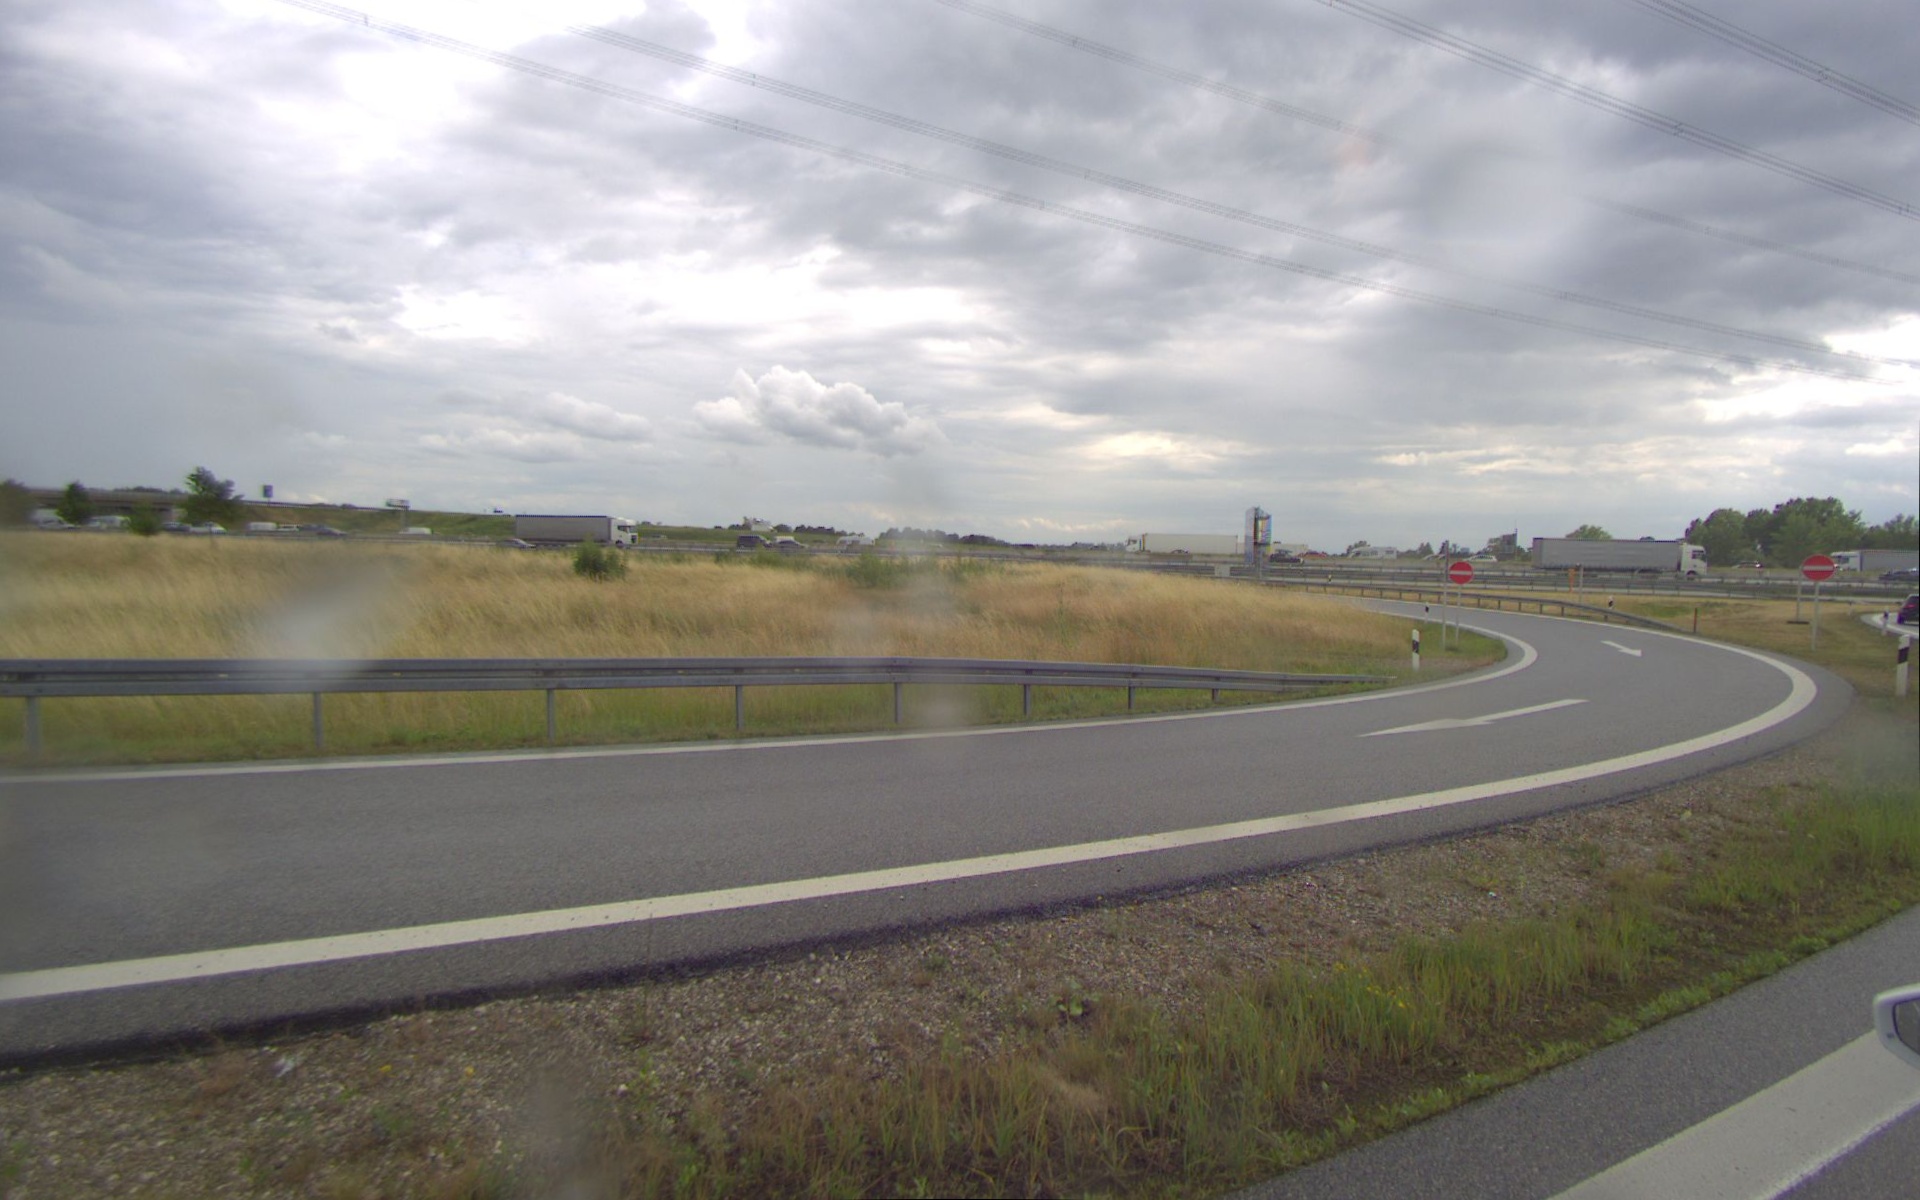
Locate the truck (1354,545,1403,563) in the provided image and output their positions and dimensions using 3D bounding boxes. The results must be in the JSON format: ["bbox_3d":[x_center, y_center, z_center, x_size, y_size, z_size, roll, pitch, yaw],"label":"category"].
[{"bbox_3d":[60.351,-6.644,144.843,6.181,2.534,2.001,0,3,11],"label":"truck"}]

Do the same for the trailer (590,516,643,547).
[{"bbox_3d":[-44.475,-8.877,130.059,5.778,3.835,2.849,2,4,11],"label":"trailer"}]

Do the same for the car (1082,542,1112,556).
[{"bbox_3d":[19.012,-7.085,139.529,3.919,1.874,1.893,0,3,14],"label":"car"}]

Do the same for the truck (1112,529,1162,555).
[{"bbox_3d":[26.662,-8.742,151.322,7.229,3.589,2.826,2,4,11],"label":"truck"}]

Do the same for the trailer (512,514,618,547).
[{"bbox_3d":[-51.632,-9.114,131.380,13.382,3.834,2.860,2,4,10],"label":"trailer"}]

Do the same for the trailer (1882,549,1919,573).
[{"bbox_3d":[127.475,-5.111,131.396,10.271,3.068,2.320,0,3,10],"label":"trailer"}]

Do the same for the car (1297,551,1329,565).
[{"bbox_3d":[48.548,-5.743,138.223,3.919,1.874,1.893,0,3,14],"label":"car"}]

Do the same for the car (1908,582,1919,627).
[{"bbox_3d":[56.244,0.256,57.680,5.092,2.338,2.328,-3,4,-44],"label":"car"}]

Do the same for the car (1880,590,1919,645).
[{"bbox_3d":[46.119,0.824,48.246,5.089,2.338,2.329,-3,4,-42],"label":"car"}]

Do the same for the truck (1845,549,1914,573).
[{"bbox_3d":[121.180,-5.163,132.491,6.337,3.068,2.320,0,3,10],"label":"truck"}]

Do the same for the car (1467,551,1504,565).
[{"bbox_3d":[68.413,-5.453,130.771,3.919,1.874,1.893,0,3,14],"label":"car"}]

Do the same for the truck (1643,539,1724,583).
[{"bbox_3d":[77.443,-4.228,107.682,6.141,4.628,3.351,0,3,13],"label":"truck"}]

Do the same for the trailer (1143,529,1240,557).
[{"bbox_3d":[34.452,-8.477,149.812,13.815,3.721,2.860,2,4,11],"label":"trailer"}]

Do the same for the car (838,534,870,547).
[{"bbox_3d":[-16.894,-9.383,159.599,4.659,2.041,2.000,0,3,12],"label":"car"}]

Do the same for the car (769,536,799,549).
[{"bbox_3d":[-26.265,-8.520,149.789,3.919,1.874,1.893,0,3,14],"label":"car"}]

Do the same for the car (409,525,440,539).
[{"bbox_3d":[-85.481,-10.845,160.289,3.919,2.041,2.000,0,3,14],"label":"car"}]

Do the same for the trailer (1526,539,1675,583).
[{"bbox_3d":[69.544,-4.302,109.485,13.121,4.680,3.484,0,3,13],"label":"trailer"}]
